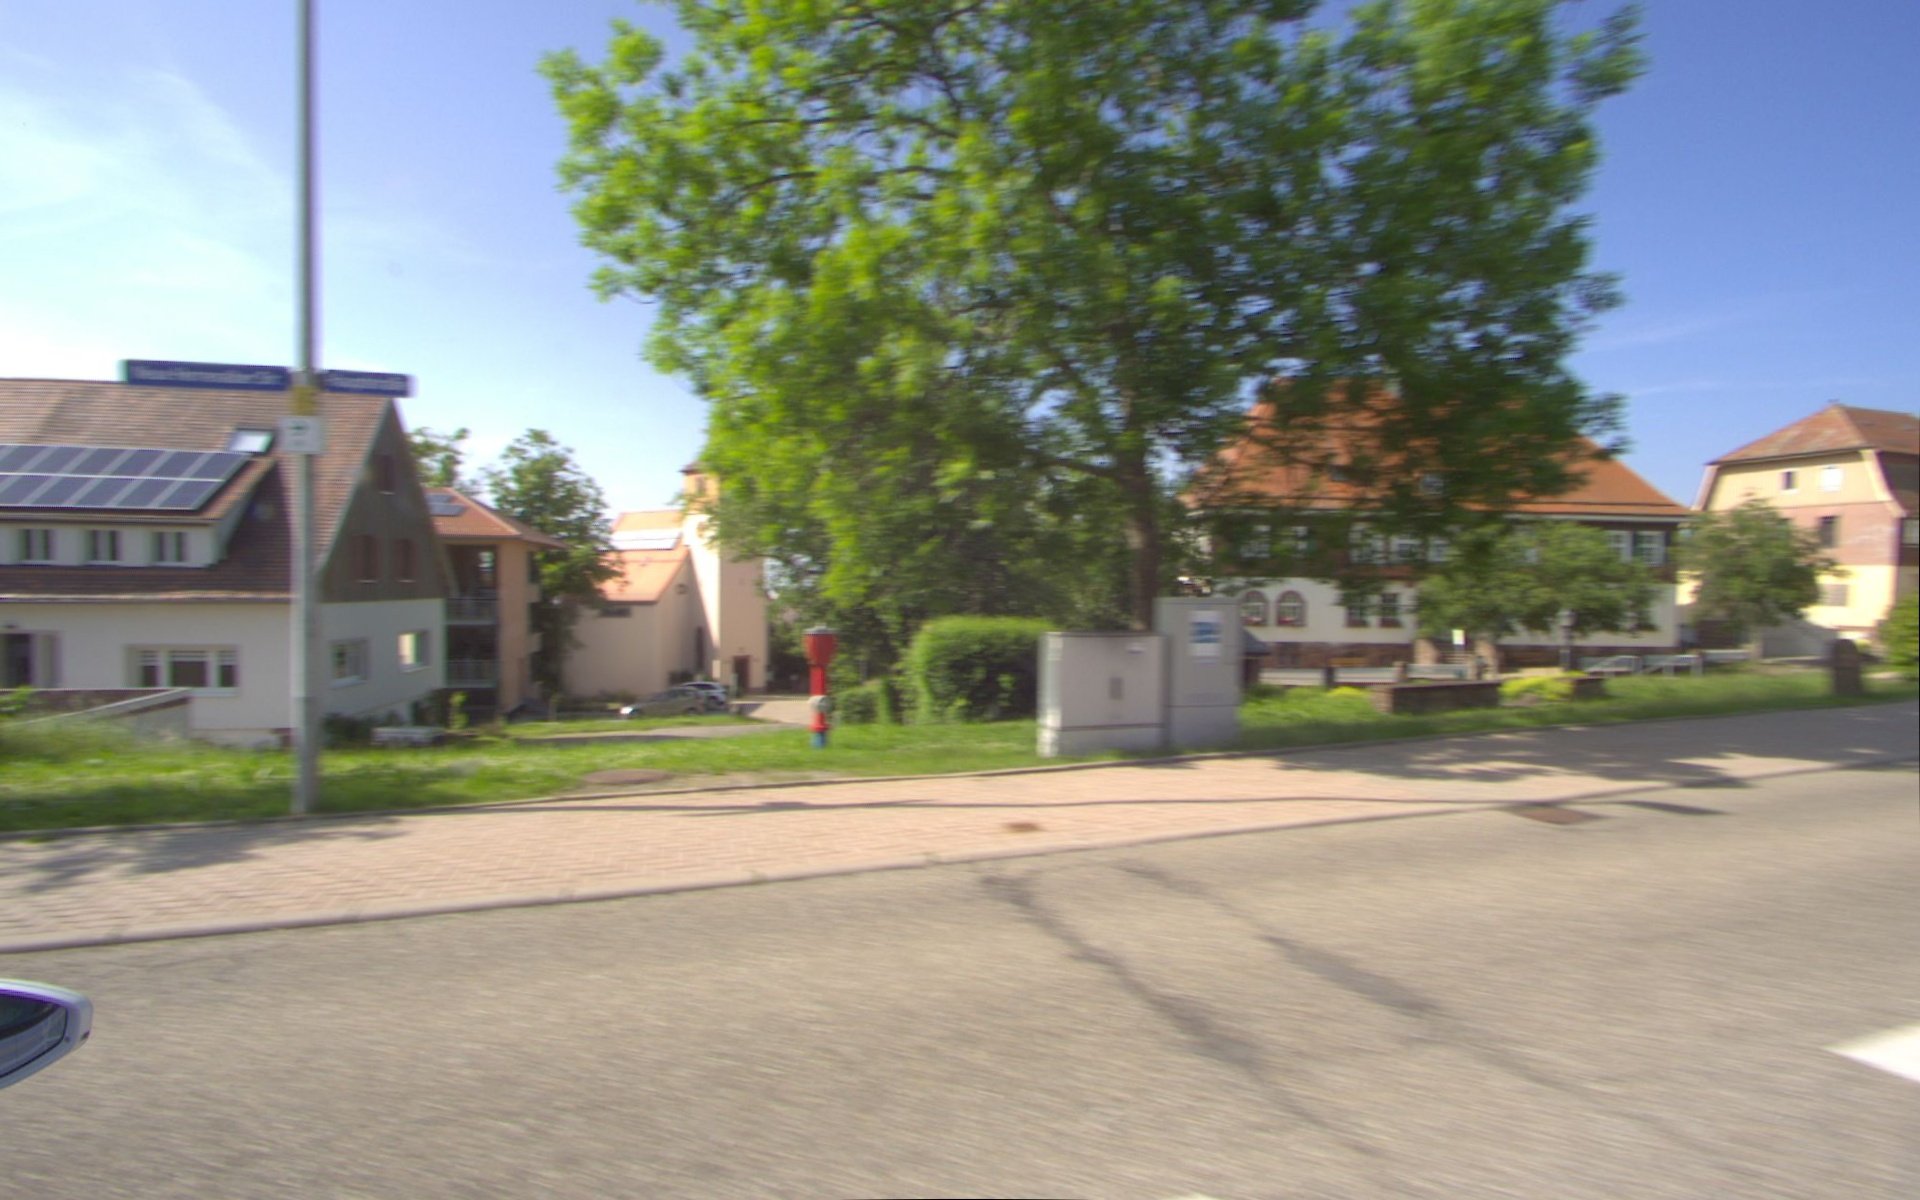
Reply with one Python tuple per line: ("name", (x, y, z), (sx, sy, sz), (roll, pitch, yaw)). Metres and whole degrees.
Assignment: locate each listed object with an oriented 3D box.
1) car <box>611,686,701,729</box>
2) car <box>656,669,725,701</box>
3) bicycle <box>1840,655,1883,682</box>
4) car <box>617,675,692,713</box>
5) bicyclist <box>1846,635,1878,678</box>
("car", (-14.491, 5.093, 47.725), (4.033, 1.780, 1.710), (-1, -2, -20))
("car", (-15.781, 4.956, 58.591), (3.721, 1.614, 1.710), (-1, -2, -21))
("bicycle", (42.014, 3.177, 46.685), (1.695, 1.205, 0.538), (-1, -1, -10))
("car", (-16.243, 4.982, 53.267), (3.721, 1.780, 1.710), (-1, -2, -21))
("bicyclist", (42.092, 2.639, 46.718), (0.979, 1.949, 0.582), (-1, -1, -10))
